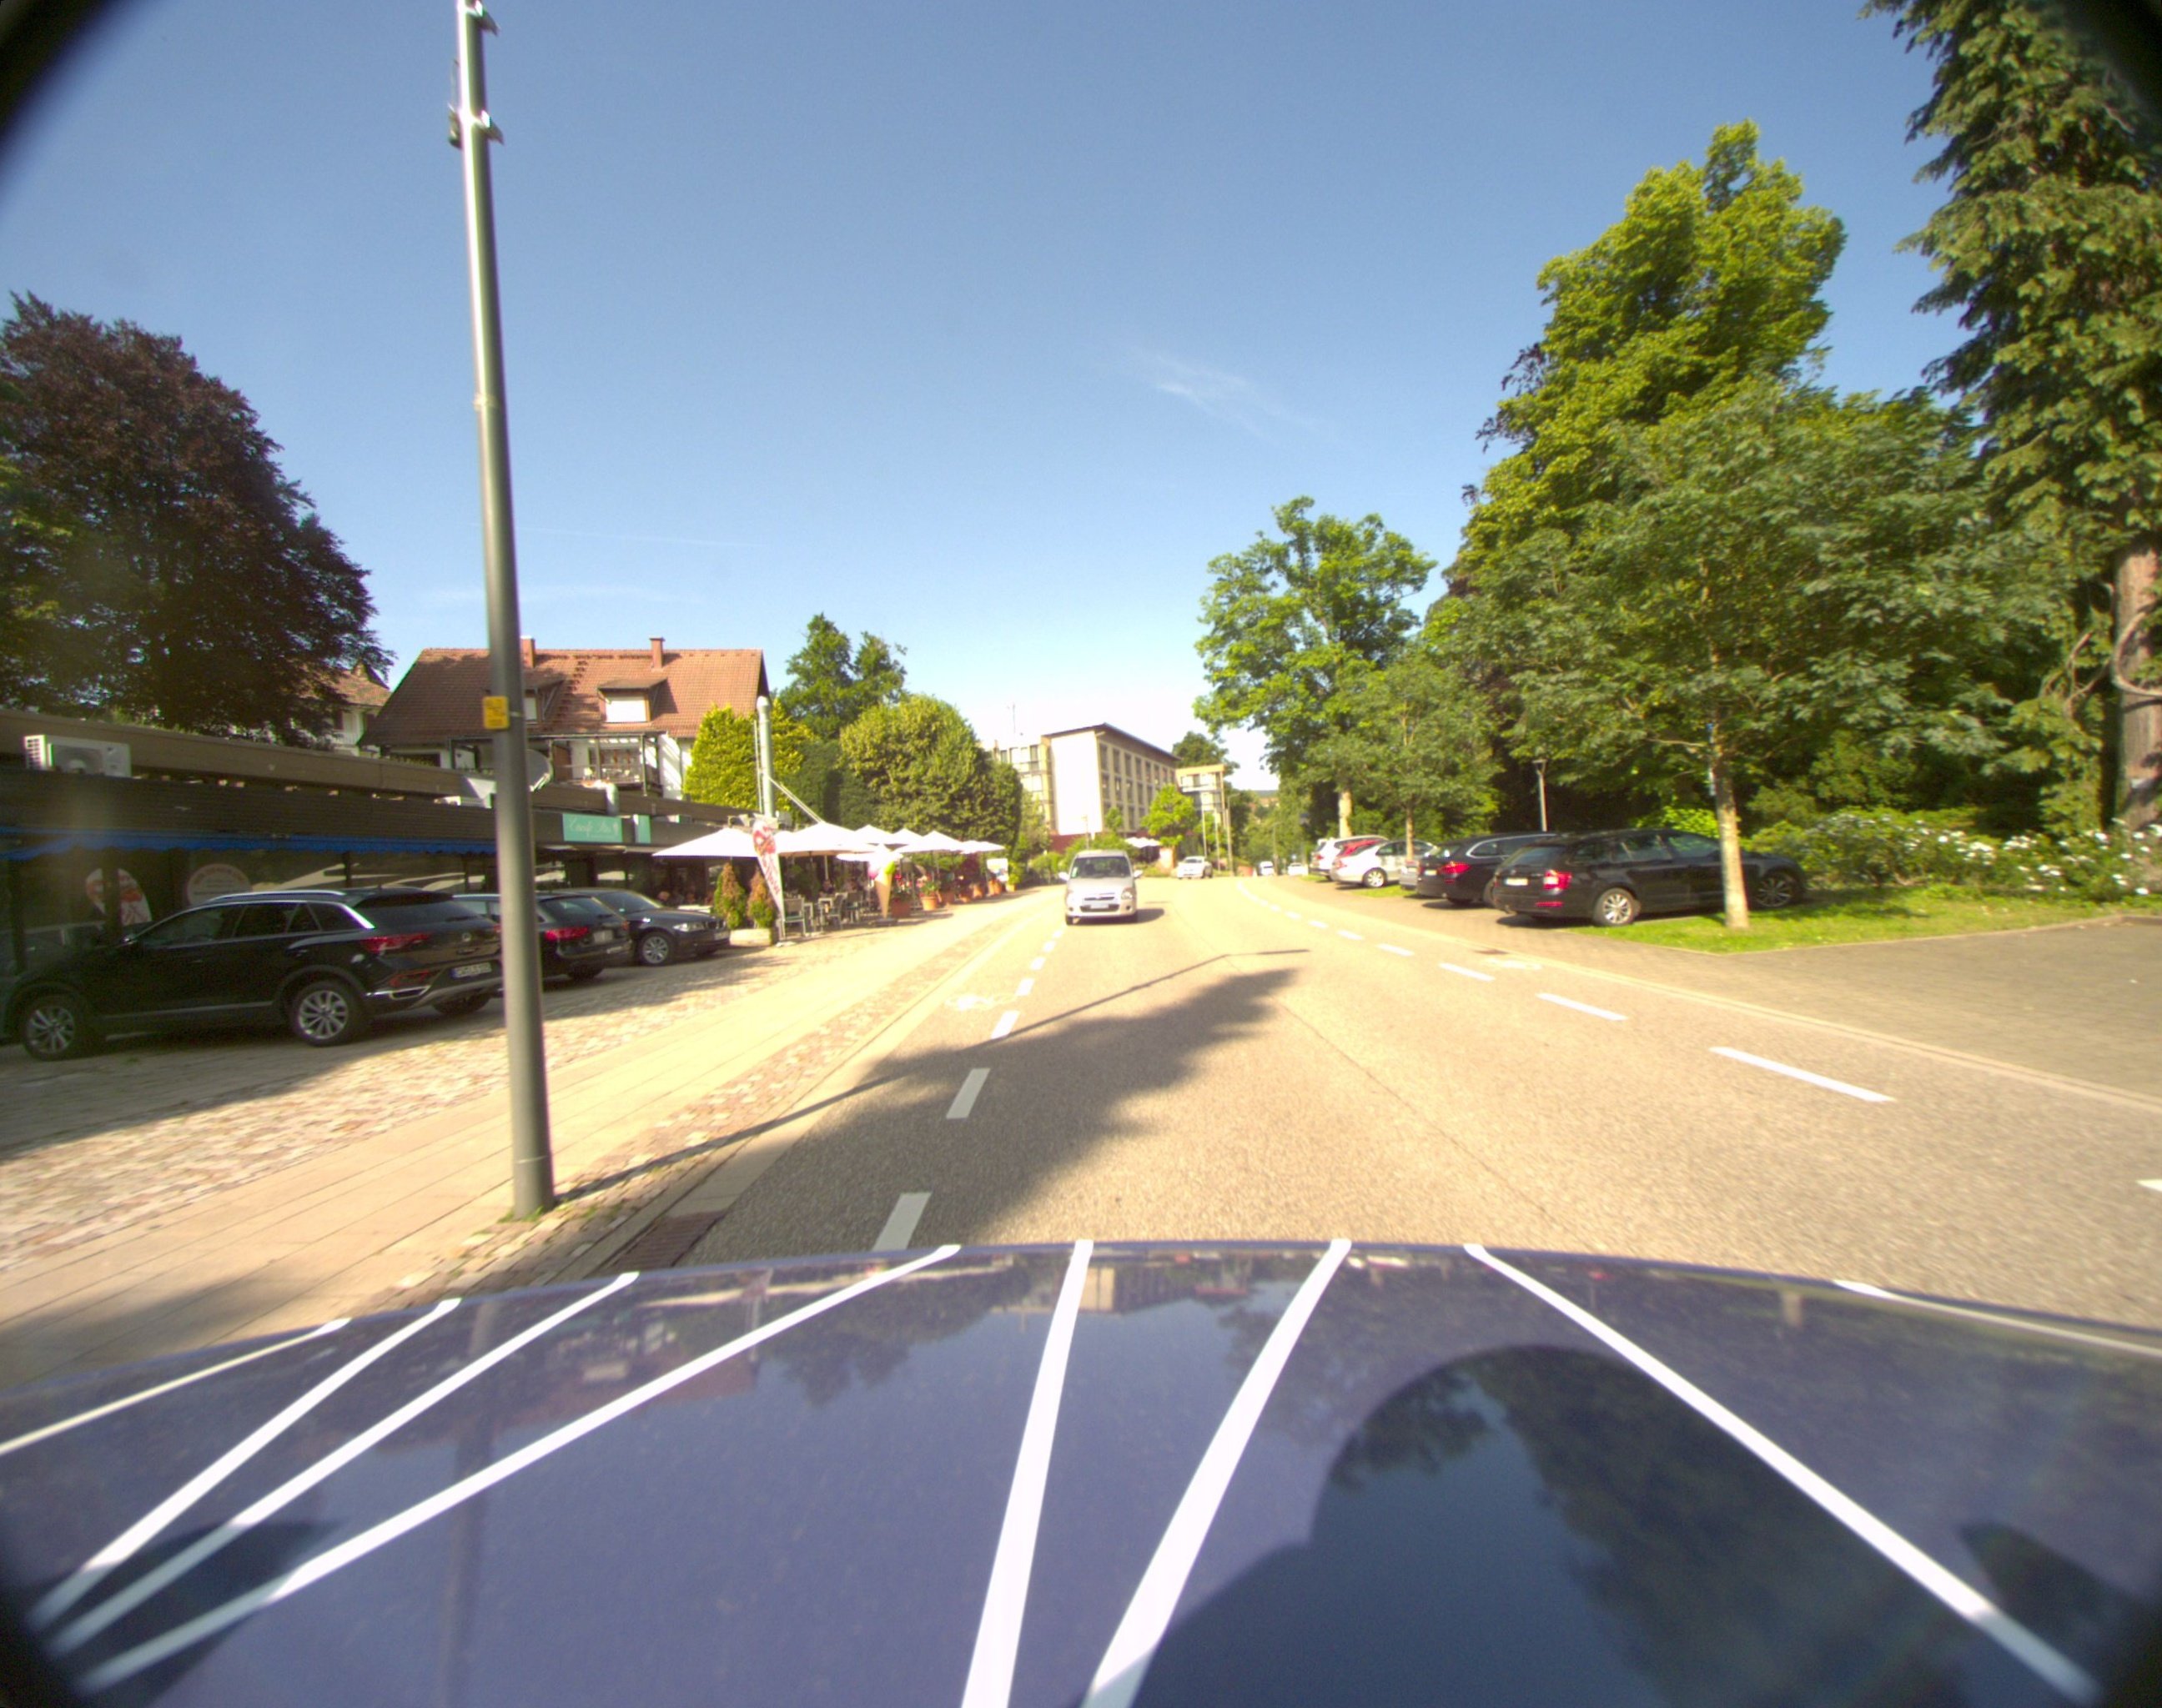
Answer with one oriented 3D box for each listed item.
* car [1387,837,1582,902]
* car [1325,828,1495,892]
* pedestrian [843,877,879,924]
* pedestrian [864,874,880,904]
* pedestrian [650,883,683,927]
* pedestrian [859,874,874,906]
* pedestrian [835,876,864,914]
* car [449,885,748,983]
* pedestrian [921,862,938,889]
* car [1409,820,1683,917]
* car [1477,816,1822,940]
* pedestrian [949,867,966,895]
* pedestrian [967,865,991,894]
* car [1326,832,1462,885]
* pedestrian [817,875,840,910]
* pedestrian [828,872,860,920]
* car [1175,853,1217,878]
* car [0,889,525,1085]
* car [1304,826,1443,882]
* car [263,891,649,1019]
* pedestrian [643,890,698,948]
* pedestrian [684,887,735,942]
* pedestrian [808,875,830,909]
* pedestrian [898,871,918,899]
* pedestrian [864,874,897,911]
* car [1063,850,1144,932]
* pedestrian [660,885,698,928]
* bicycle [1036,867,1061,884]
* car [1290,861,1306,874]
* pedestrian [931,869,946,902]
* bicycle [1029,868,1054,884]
[{"bbox_3d":[9.870,0.369,18.806,3.803,1.236,1.763,-5,1,1],"label":"car"},{"bbox_3d":[10.133,0.170,23.742,4.491,1.409,1.811,-7,1,11],"label":"car"},{"bbox_3d":[-6.199,1.306,21.447,0.812,1.253,0.700,-3,0,-7],"label":"pedestrian"},{"bbox_3d":[-8.962,1.505,32.622,0.408,1.260,0.509,-2,0,12],"label":"pedestrian"},{"bbox_3d":[-12.826,1.558,23.499,0.686,1.291,0.638,-2,1,42],"label":"pedestrian"},{"bbox_3d":[-8.745,1.462,30.962,0.470,1.258,0.440,-2,0,-2],"label":"pedestrian"},{"bbox_3d":[-8.002,1.404,26.209,0.701,1.253,0.810,-3,1,-33],"label":"pedestrian"},{"bbox_3d":[-8.564,1.398,13.723,4.272,1.371,1.709,-3,1,3],"label":"car"},{"bbox_3d":[-7.087,1.012,35.563,0.596,1.230,0.507,-2,0,-38],"label":"pedestrian"},{"bbox_3d":[9.436,0.277,15.686,4.505,1.501,1.713,-5,0,1],"label":"car"},{"bbox_3d":[8.944,0.339,12.152,4.288,1.423,1.712,-6,1,-5],"label":"car"},{"bbox_3d":[-5.785,1.257,35.593,0.649,1.276,0.645,-2,0,0],"label":"pedestrian"},{"bbox_3d":[-4.748,1.177,35.441,0.950,1.276,0.645,-2,0,0],"label":"pedestrian"},{"bbox_3d":[10.866,0.130,26.637,3.995,1.424,1.720,-6,1,8],"label":"car"},{"bbox_3d":[-9.557,1.439,28.769,0.639,1.297,0.579,-2,0,-34],"label":"pedestrian"},{"bbox_3d":[-7.101,1.254,22.771,0.701,1.373,0.810,-3,1,-28],"label":"pedestrian"},{"bbox_3d":[7.561,0.761,49.651,1.738,1.488,3.936,-3,-1,23],"label":"car"},{"bbox_3d":[-8.585,1.307,8.109,3.886,1.571,1.748,-3,0,-2],"label":"car"},{"bbox_3d":[11.087,-0.009,29.050,4.493,1.654,1.810,-6,1,4],"label":"car"},{"bbox_3d":[-8.839,1.402,10.985,4.119,1.407,1.748,-3,1,3],"label":"car"},{"bbox_3d":[-9.605,1.505,17.780,0.699,1.253,0.814,-3,1,28],"label":"pedestrian"},{"bbox_3d":[-9.032,1.462,18.492,0.699,1.253,0.814,-3,1,28],"label":"pedestrian"},{"bbox_3d":[-10.135,1.475,29.386,0.639,1.275,0.579,-2,0,-34],"label":"pedestrian"},{"bbox_3d":[-8.001,1.439,35.145,0.507,1.224,0.700,-2,0,22],"label":"pedestrian"},{"bbox_3d":[-7.070,1.344,26.783,0.810,1.253,0.701,-3,1,21],"label":"pedestrian"},{"bbox_3d":[0.519,0.759,17.956,1.604,1.628,4.000,-3,0,1],"label":"car"},{"bbox_3d":[-11.844,1.547,22.381,0.686,1.201,0.702,-2,1,34],"label":"pedestrian"},{"bbox_3d":[-1.918,1.293,45.244,1.544,0.977,0.385,-1,0,36],"label":"bicycle"},{"bbox_3d":[26.507,1.630,92.809,1.738,1.389,4.004,-3,0,16],"label":"car"},{"bbox_3d":[-5.530,1.208,29.463,0.473,1.238,0.592,-2,1,-14],"label":"pedestrian"},{"bbox_3d":[-2.335,1.301,44.471,1.543,0.904,0.385,-1,0,36],"label":"bicycle"}]
